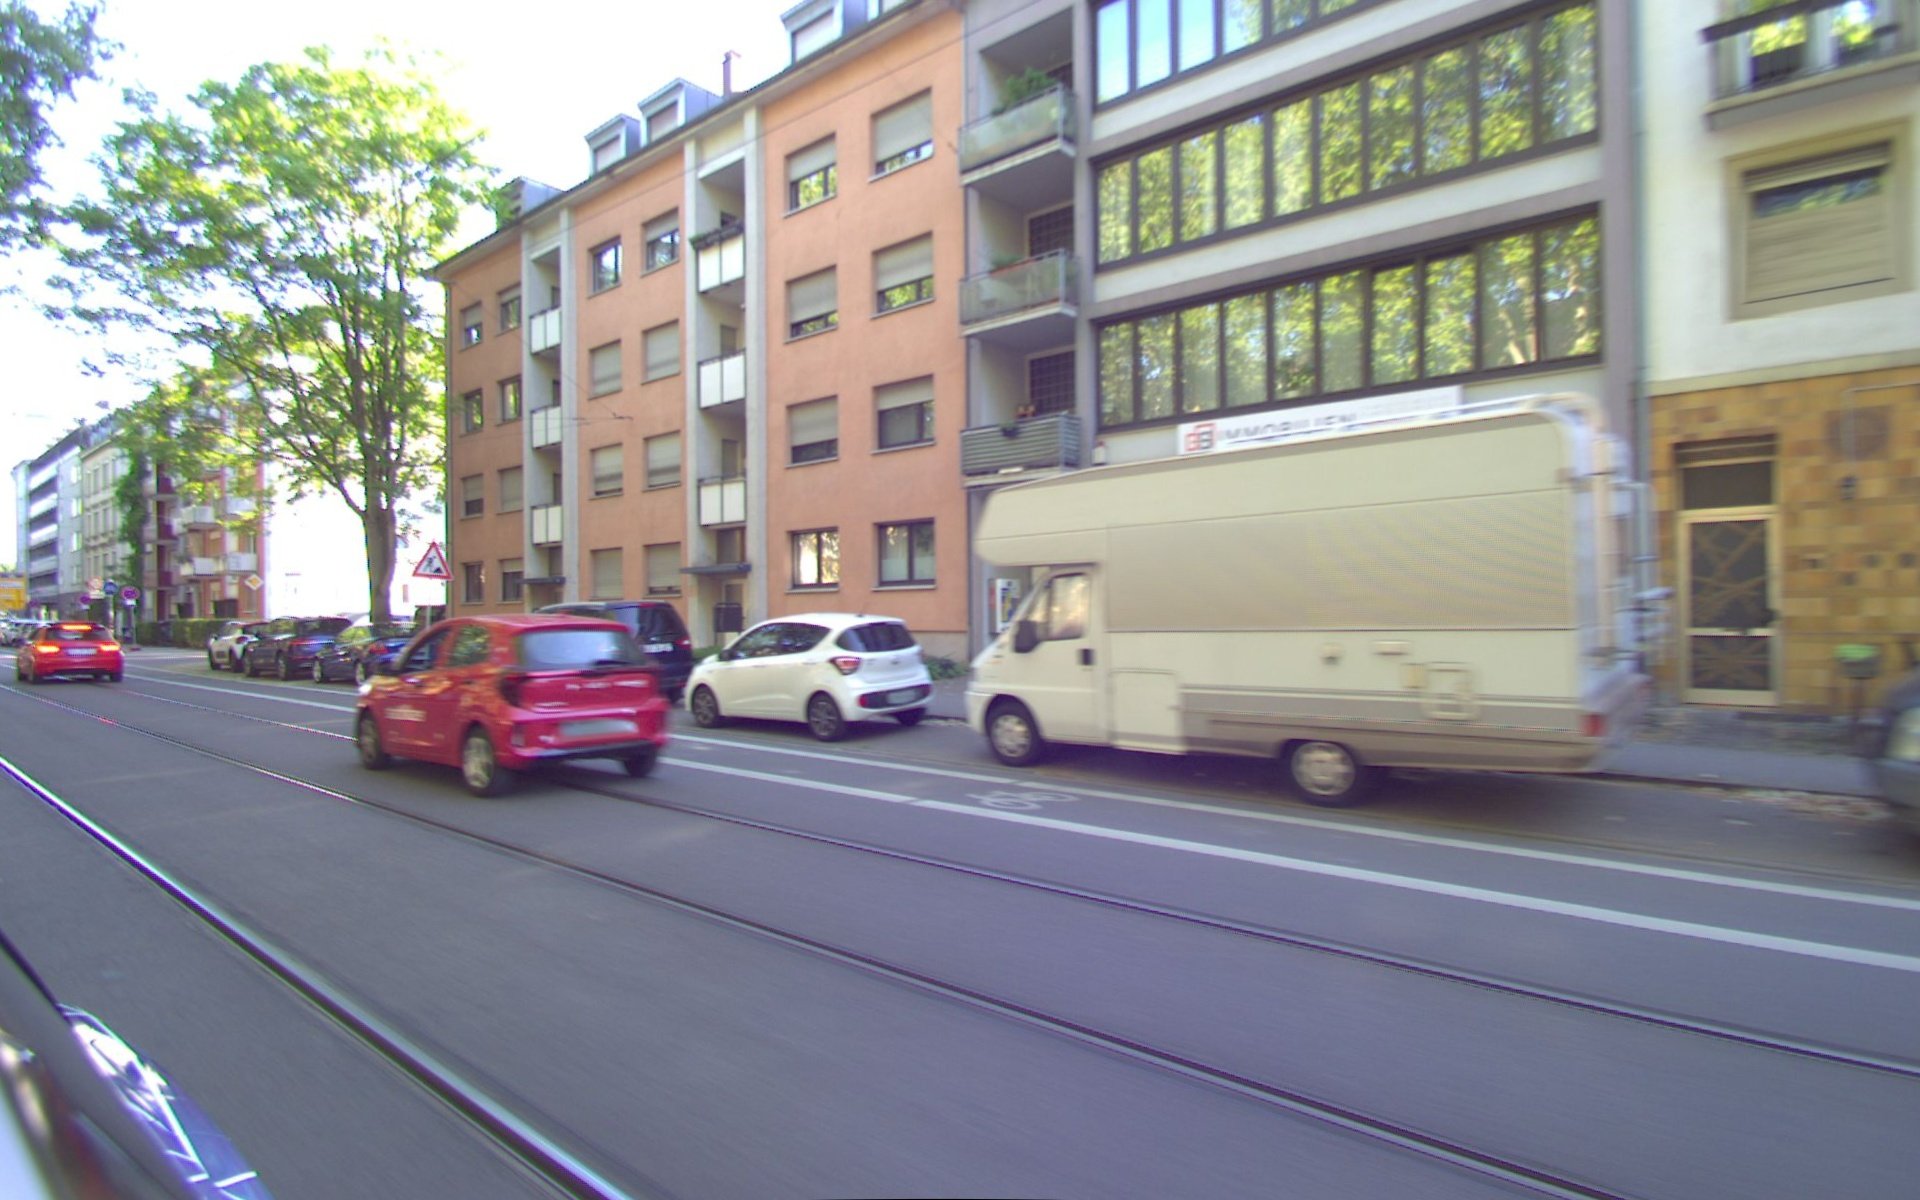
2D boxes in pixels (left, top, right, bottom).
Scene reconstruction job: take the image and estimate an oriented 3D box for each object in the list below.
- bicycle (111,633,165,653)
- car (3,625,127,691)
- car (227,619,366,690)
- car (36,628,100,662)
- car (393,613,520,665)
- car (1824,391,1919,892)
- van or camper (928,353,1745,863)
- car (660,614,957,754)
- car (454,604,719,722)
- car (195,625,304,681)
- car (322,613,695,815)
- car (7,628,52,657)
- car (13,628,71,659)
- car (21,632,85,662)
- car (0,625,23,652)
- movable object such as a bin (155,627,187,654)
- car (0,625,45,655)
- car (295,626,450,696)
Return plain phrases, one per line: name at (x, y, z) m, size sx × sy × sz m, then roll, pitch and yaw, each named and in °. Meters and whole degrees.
bicycle at (-50.229, 2.633, 61.866) m, size 0.698 × 1.070 × 2.428 m, roll -2°, pitch 0°, yaw 38°
car at (-21.629, 1.353, 24.420) m, size 4.066 × 1.448 × 1.705 m, roll -2°, pitch -2°, yaw 41°
car at (-17.563, 1.394, 26.695) m, size 4.584 × 1.622 × 1.763 m, roll -2°, pitch 1°, yaw 40°
car at (-43.051, 2.145, 48.827) m, size 3.927 × 1.494 × 1.708 m, roll -2°, pitch 1°, yaw 40°
car at (-21.467, 1.648, 43.200) m, size 4.675 × 2.139 × 1.992 m, roll -1°, pitch -1°, yaw 13°
car at (7.662, 0.139, 4.823) m, size 5.306 × 2.752 × 2.065 m, roll -2°, pitch 1°, yaw 41°
van or camper at (2.875, 0.064, 9.083) m, size 6.395 × 3.063 × 2.313 m, roll -2°, pitch 2°, yaw 42°
car at (-2.084, 1.001, 13.353) m, size 3.859 × 1.499 × 1.693 m, roll -2°, pitch 1°, yaw 40°
car at (-6.437, 0.982, 17.118) m, size 5.066 × 1.699 × 1.933 m, roll -2°, pitch -1°, yaw 40°
car at (-21.486, 1.542, 30.551) m, size 4.088 × 1.489 × 1.787 m, roll -1°, pitch 1°, yaw 42°
car at (-4.315, 0.899, 9.407) m, size 3.948 × 1.490 × 1.646 m, roll -2°, pitch -2°, yaw 41°
car at (-54.440, 2.465, 59.194) m, size 3.780 × 1.583 × 1.609 m, roll -1°, pitch 0°, yaw 42°
car at (-50.724, 2.376, 55.902) m, size 4.001 × 1.599 × 1.801 m, roll -2°, pitch -1°, yaw 39°
car at (-46.905, 2.399, 52.299) m, size 4.861 × 1.405 × 1.932 m, roll -2°, pitch 1°, yaw 42°
car at (-66.561, 2.665, 70.033) m, size 4.464 × 1.784 × 1.772 m, roll -2°, pitch 0°, yaw 38°
movable object such as a bin at (-40.595, 2.078, 52.071) m, size 0.747 × 1.375 × 1.198 m, roll -2°, pitch -2°, yaw 42°
car at (-58.418, 2.443, 62.659) m, size 4.877 × 1.661 × 1.933 m, roll -1°, pitch 0°, yaw 40°
car at (-13.739, 1.361, 23.571) m, size 4.379 × 1.411 × 1.721 m, roll -2°, pitch 0°, yaw 40°
